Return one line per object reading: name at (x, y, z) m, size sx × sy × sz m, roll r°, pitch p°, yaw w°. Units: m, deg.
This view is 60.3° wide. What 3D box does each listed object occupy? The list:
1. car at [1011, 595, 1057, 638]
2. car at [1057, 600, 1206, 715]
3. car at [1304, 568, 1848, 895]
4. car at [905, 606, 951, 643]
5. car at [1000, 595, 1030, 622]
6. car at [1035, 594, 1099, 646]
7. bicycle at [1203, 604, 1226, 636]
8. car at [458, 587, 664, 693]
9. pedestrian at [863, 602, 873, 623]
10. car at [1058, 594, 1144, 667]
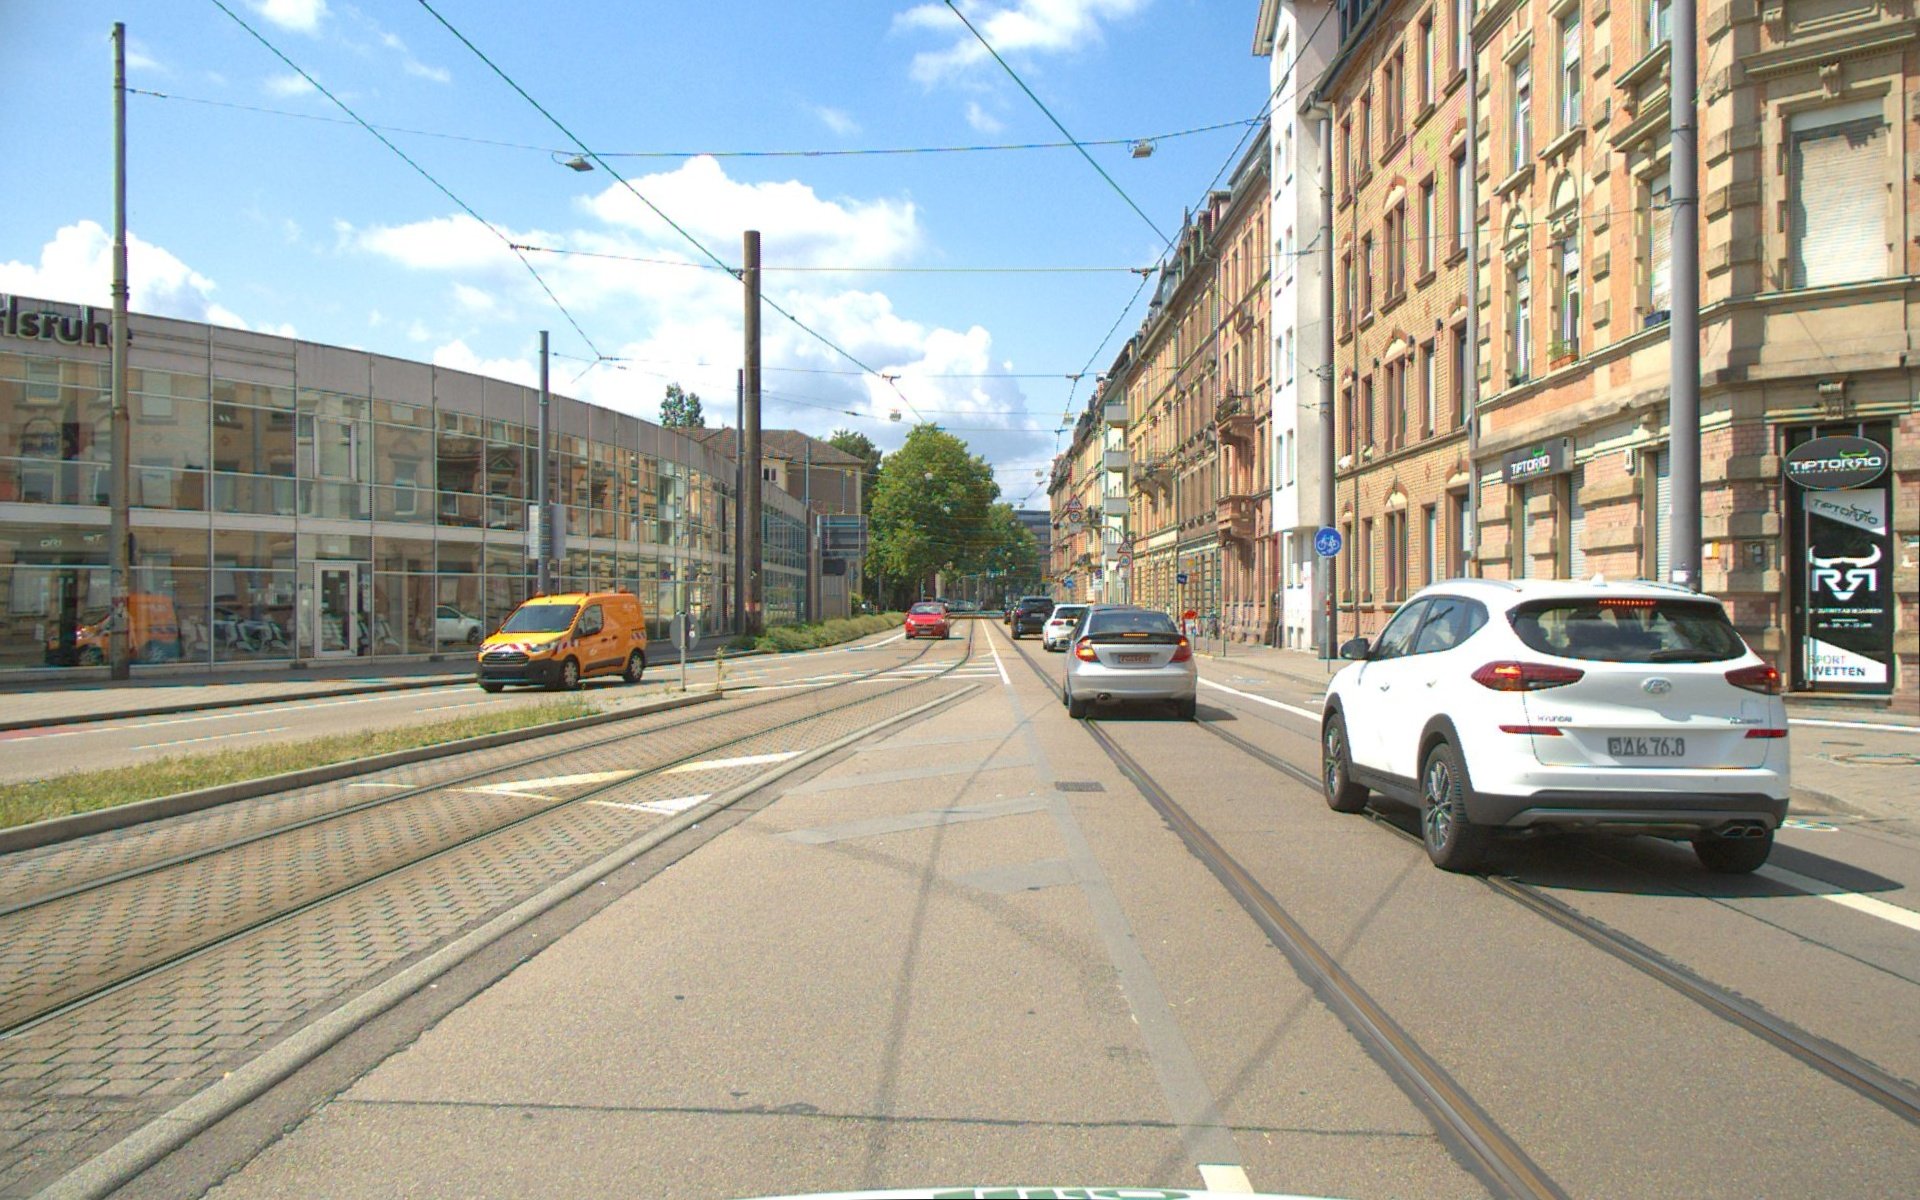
car at (3.039, 0.682, 68.573) m, size 1.777 × 1.691 × 4.085 m, roll -1°, pitch 0°, yaw 0°
car at (2.288, 0.743, 22.972) m, size 1.777 × 1.445 × 4.188 m, roll 0°, pitch -1°, yaw 2°
car at (3.613, 0.669, 10.607) m, size 1.815 × 1.662 × 4.179 m, roll -1°, pitch 0°, yaw -2°
car at (-1.289, 0.993, 67.315) m, size 1.666 × 1.453 × 3.902 m, roll 0°, pitch -1°, yaw 2°
car at (3.865, 0.579, 116.563) m, size 1.953 × 1.892 × 3.999 m, roll 0°, pitch 0°, yaw -1°
car at (3.335, 0.609, 52.042) m, size 1.777 × 1.551 × 3.955 m, roll 0°, pitch 0°, yaw 0°
bicycle at (9.740, 0.768, 63.256) m, size 0.574 × 1.199 × 2.205 m, roll -1°, pitch 0°, yaw 1°
car at (-7.627, 0.718, 32.081) m, size 1.871 × 1.898 × 4.370 m, roll -2°, pitch 0°, yaw 17°
pedestrian at (-8.583, 1.155, 154.233) m, size 0.862 × 1.898 × 1.081 m, roll -1°, pitch 0°, yaw 1°
car at (3.173, 0.650, 37.764) m, size 1.776 × 1.551 × 4.086 m, roll 0°, pitch 0°, yaw 3°
